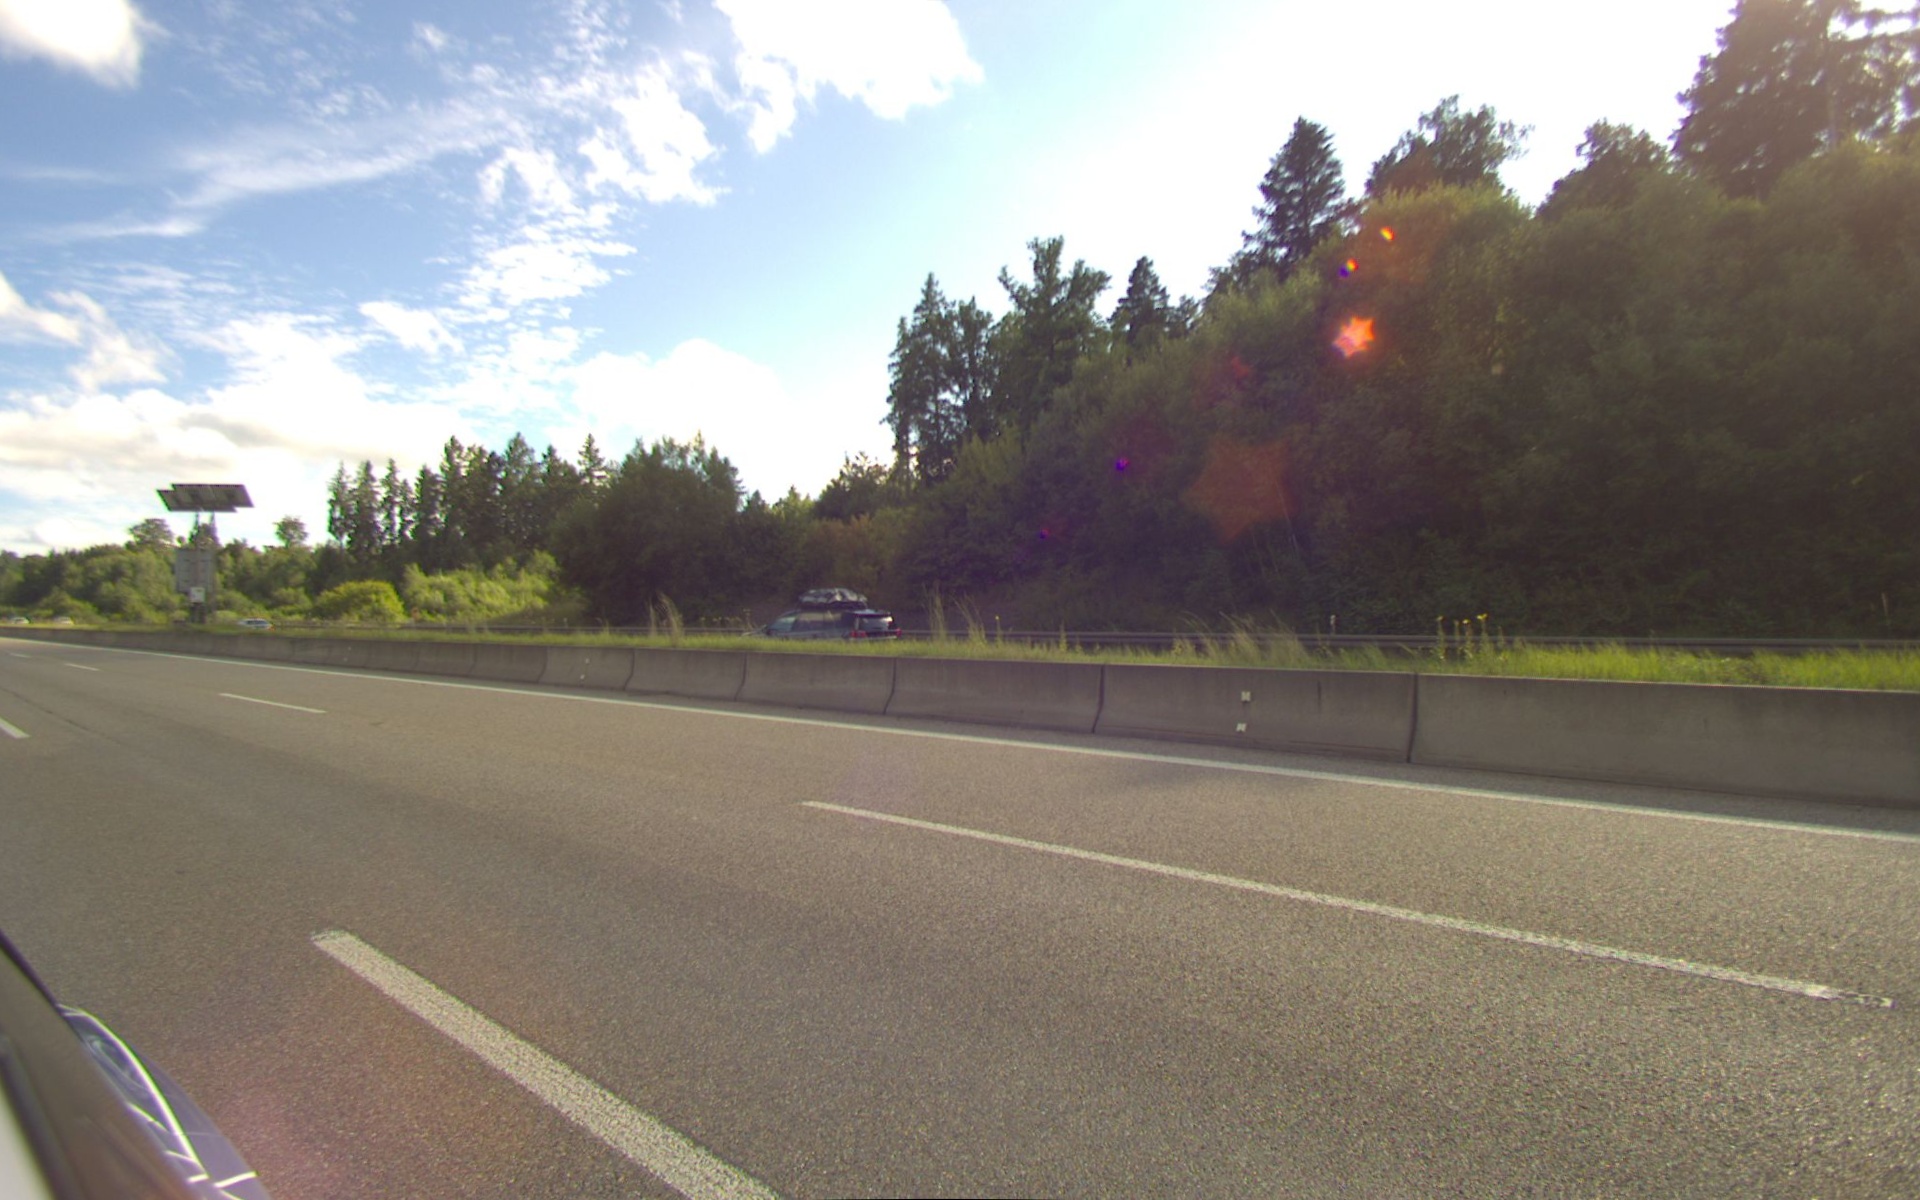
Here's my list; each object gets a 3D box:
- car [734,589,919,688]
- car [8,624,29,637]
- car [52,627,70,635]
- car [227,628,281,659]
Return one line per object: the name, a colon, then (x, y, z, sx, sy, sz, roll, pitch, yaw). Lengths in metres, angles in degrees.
car: (-3.074, 0.825, 22.895, 4.070, 2.029, 1.973, -1, -1, 41)
car: (-137.491, 4.492, 147.811, 4.492, 1.819, 1.903, -1, -1, 42)
car: (-125.397, 4.306, 141.176, 3.172, 1.102, 1.574, -1, -1, 42)
car: (-46.432, 2.831, 66.527, 4.427, 1.920, 1.906, -1, -1, 41)
